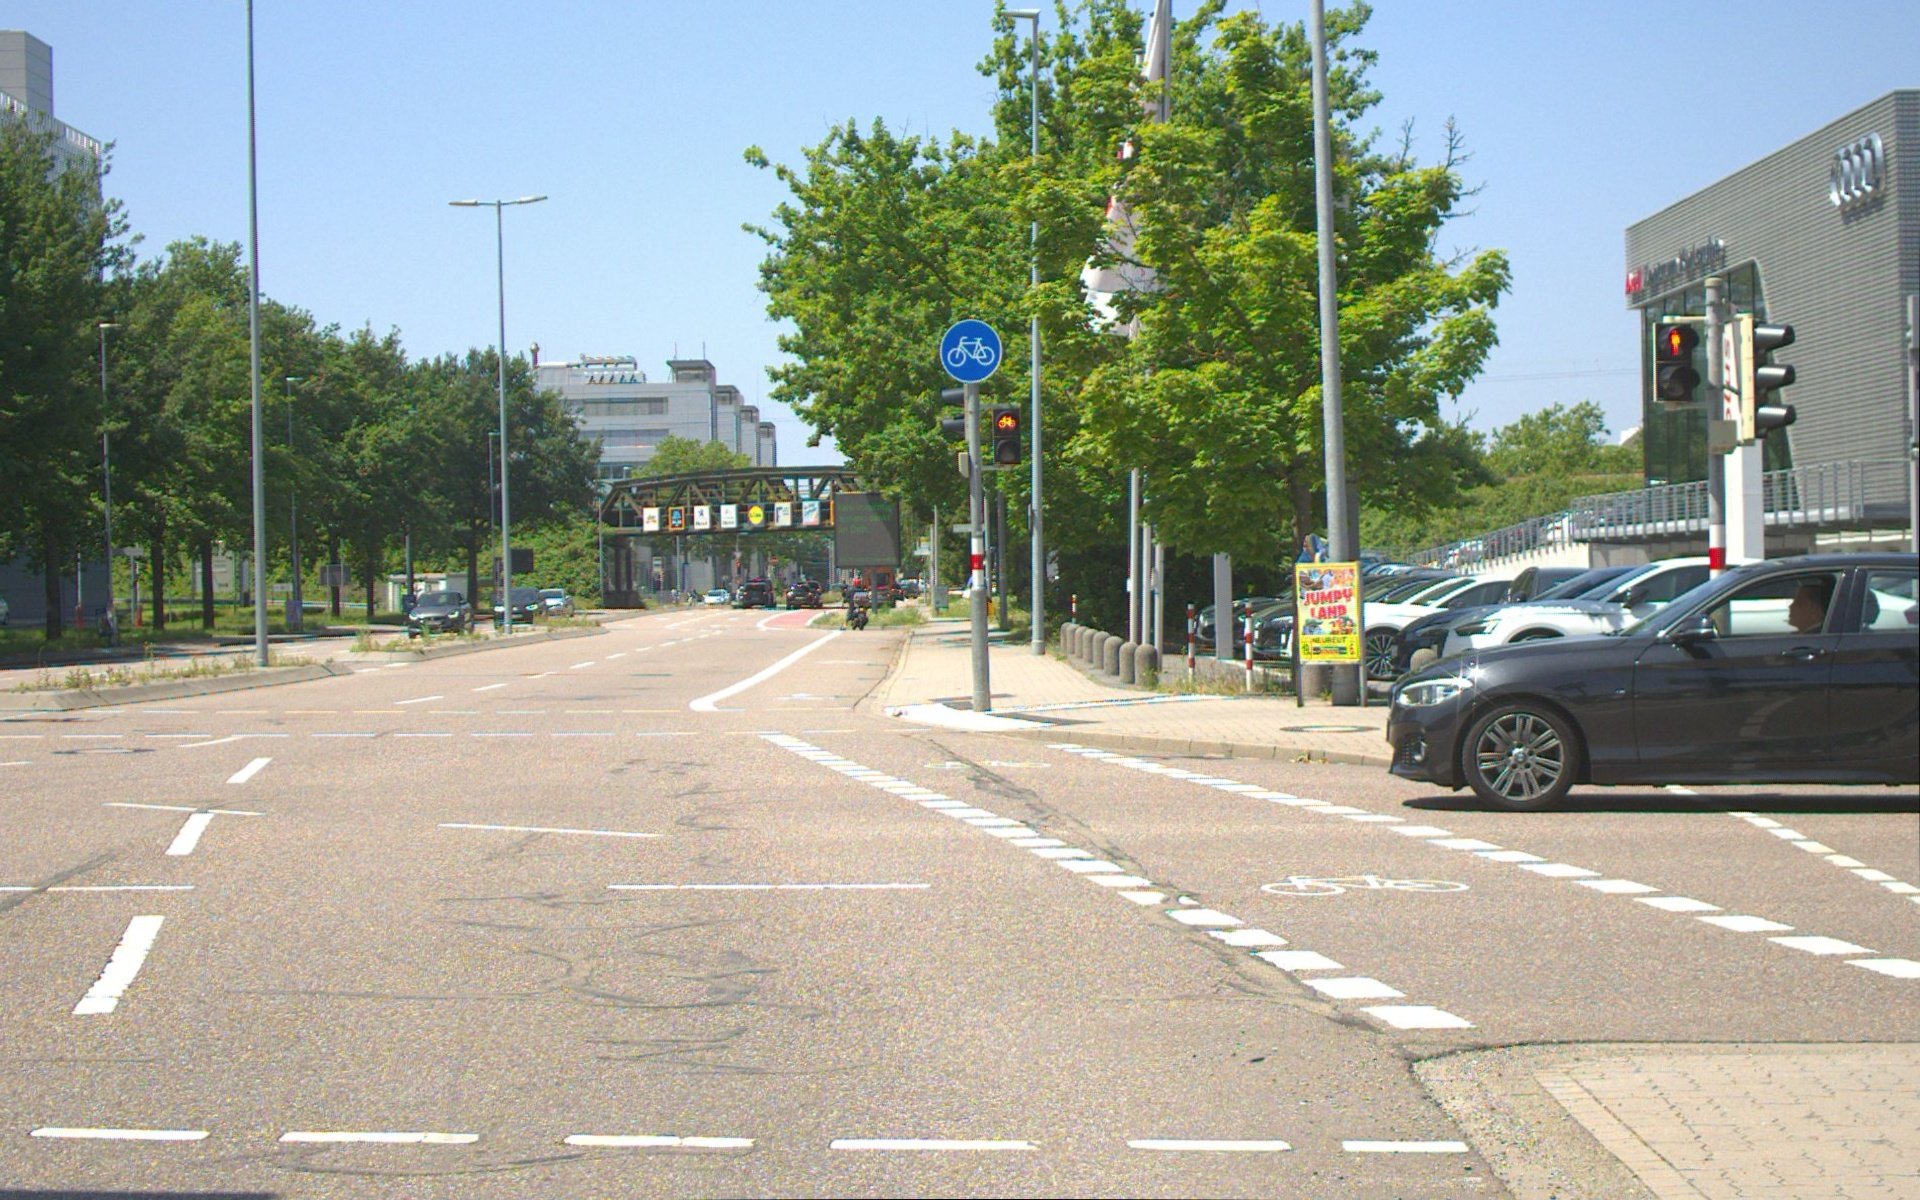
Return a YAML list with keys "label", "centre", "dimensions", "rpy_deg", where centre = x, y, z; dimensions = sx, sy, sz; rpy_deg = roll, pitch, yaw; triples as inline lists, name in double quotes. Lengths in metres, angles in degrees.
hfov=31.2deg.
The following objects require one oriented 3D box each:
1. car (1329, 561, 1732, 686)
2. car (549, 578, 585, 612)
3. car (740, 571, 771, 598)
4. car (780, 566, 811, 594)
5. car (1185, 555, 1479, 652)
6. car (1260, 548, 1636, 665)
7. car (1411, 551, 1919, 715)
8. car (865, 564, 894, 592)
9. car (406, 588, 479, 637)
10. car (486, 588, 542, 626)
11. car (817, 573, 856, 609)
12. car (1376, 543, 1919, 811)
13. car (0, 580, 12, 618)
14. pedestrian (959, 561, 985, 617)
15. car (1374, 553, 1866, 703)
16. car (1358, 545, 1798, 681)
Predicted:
- label: "car"
  centre: [7.208, 0.285, 43.761]
  dimensions: [4.741, 1.452, 2.000]
  rpy_deg: [-1, 1, -2]
- label: "car"
  centre: [-19.581, -0.246, 171.464]
  dimensions: [1.648, 1.647, 4.164]
  rpy_deg: [-1, 1, -5]
- label: "car"
  centre: [-13.412, -0.990, 225.401]
  dimensions: [1.772, 1.722, 4.000]
  rpy_deg: [-1, 0, -1]
- label: "car"
  centre: [-10.527, -1.251, 219.787]
  dimensions: [1.772, 1.722, 4.000]
  rpy_deg: [-1, 0, -1]
- label: "car"
  centre: [6.337, 0.047, 58.972]
  dimensions: [4.741, 1.452, 2.000]
  rpy_deg: [-2, 1, -2]
- label: "car"
  centre: [6.556, 0.071, 46.559]
  dimensions: [4.741, 1.452, 2.000]
  rpy_deg: [-1, 1, -2]
- label: "car"
  centre: [6.854, 0.301, 33.288]
  dimensions: [4.741, 1.452, 2.000]
  rpy_deg: [-1, 1, 2]
- label: "car"
  centre: [-5.152, -1.385, 220.752]
  dimensions: [1.772, 1.722, 4.000]
  rpy_deg: [-1, 0, -1]
- label: "car"
  centre: [-16.445, 0.385, 109.392]
  dimensions: [1.732, 1.422, 3.706]
  rpy_deg: [-3, 0, -1]
- label: "car"
  centre: [-17.256, 0.262, 133.101]
  dimensions: [1.684, 1.406, 3.665]
  rpy_deg: [-1, 0, -1]
- label: "car"
  centre: [-3.780, -0.279, 105.333]
  dimensions: [1.137, 1.038, 2.308]
  rpy_deg: [-1, 1, -1]
- label: "car"
  centre: [4.495, 0.408, 19.164]
  dimensions: [4.224, 1.406, 1.671]
  rpy_deg: [-1, 0, 10]
- label: "car"
  centre: [-47.327, -0.032, 165.695]
  dimensions: [1.994, 1.804, 4.029]
  rpy_deg: [1, 1, 3]
- label: "pedestrian"
  centre: [0.315, -0.298, 93.793]
  dimensions: [0.668, 1.505, 0.736]
  rpy_deg: [-1, 1, -1]
- label: "car"
  centre: [6.802, 0.288, 35.830]
  dimensions: [4.741, 1.452, 2.000]
  rpy_deg: [-1, 0, 2]
- label: "car"
  centre: [7.084, 0.128, 39.773]
  dimensions: [4.741, 1.452, 2.000]
  rpy_deg: [-1, 1, 2]
